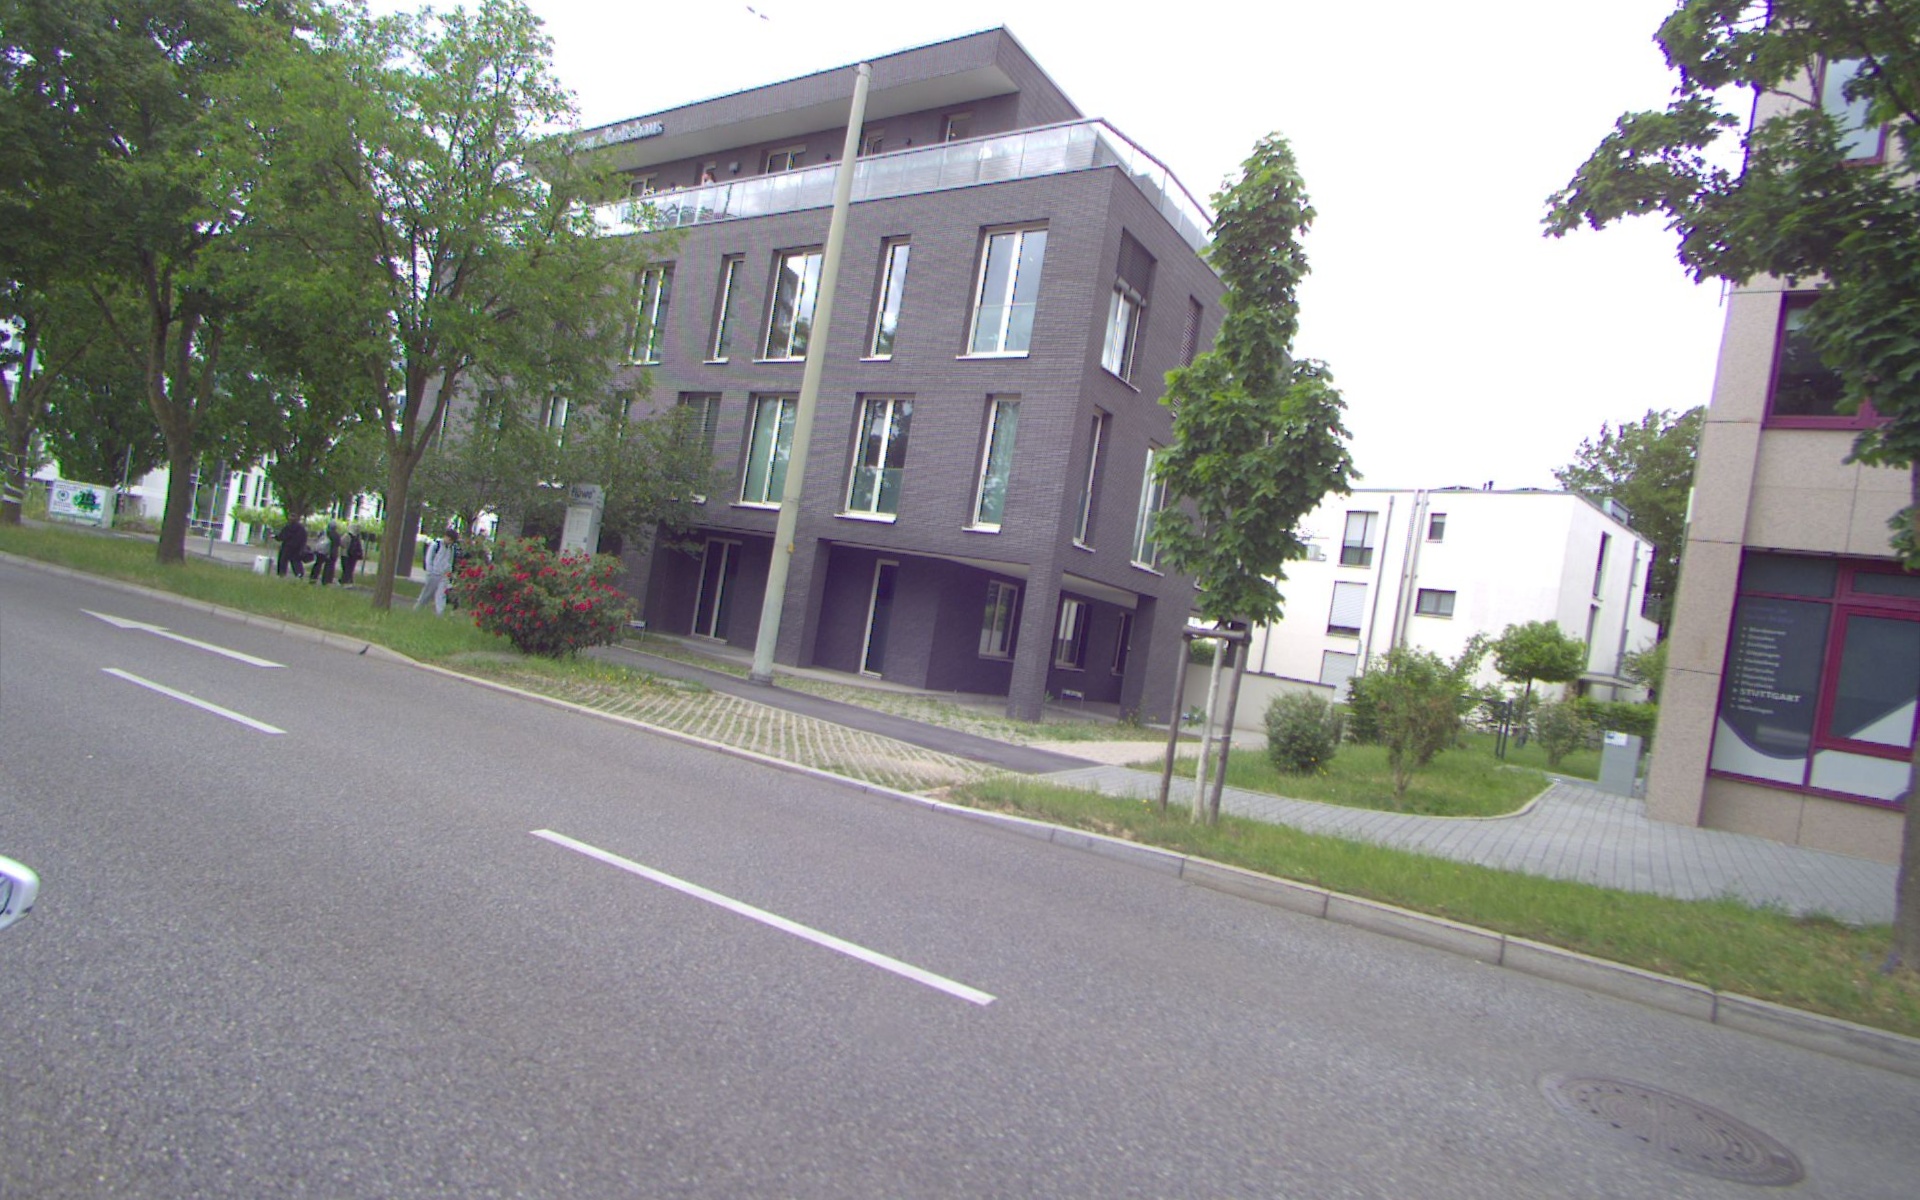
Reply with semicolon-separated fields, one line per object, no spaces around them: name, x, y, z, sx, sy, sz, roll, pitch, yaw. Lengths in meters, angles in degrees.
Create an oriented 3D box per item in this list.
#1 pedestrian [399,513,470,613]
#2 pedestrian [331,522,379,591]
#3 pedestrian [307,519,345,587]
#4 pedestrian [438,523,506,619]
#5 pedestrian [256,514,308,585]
pedestrian;-10.339;-0.721;19.786;0.937;1.796;0.609;10;1;31
pedestrian;-14.892;-1.064;24.764;0.732;1.570;0.590;8;-1;36
pedestrian;-15.236;-1.131;24.190;0.553;1.570;0.409;7;-1;36
pedestrian;-9.961;-0.590;20.534;0.937;1.796;0.609;10;1;31
pedestrian;-16.377;-1.219;24.313;0.578;1.570;0.726;8;-1;35
